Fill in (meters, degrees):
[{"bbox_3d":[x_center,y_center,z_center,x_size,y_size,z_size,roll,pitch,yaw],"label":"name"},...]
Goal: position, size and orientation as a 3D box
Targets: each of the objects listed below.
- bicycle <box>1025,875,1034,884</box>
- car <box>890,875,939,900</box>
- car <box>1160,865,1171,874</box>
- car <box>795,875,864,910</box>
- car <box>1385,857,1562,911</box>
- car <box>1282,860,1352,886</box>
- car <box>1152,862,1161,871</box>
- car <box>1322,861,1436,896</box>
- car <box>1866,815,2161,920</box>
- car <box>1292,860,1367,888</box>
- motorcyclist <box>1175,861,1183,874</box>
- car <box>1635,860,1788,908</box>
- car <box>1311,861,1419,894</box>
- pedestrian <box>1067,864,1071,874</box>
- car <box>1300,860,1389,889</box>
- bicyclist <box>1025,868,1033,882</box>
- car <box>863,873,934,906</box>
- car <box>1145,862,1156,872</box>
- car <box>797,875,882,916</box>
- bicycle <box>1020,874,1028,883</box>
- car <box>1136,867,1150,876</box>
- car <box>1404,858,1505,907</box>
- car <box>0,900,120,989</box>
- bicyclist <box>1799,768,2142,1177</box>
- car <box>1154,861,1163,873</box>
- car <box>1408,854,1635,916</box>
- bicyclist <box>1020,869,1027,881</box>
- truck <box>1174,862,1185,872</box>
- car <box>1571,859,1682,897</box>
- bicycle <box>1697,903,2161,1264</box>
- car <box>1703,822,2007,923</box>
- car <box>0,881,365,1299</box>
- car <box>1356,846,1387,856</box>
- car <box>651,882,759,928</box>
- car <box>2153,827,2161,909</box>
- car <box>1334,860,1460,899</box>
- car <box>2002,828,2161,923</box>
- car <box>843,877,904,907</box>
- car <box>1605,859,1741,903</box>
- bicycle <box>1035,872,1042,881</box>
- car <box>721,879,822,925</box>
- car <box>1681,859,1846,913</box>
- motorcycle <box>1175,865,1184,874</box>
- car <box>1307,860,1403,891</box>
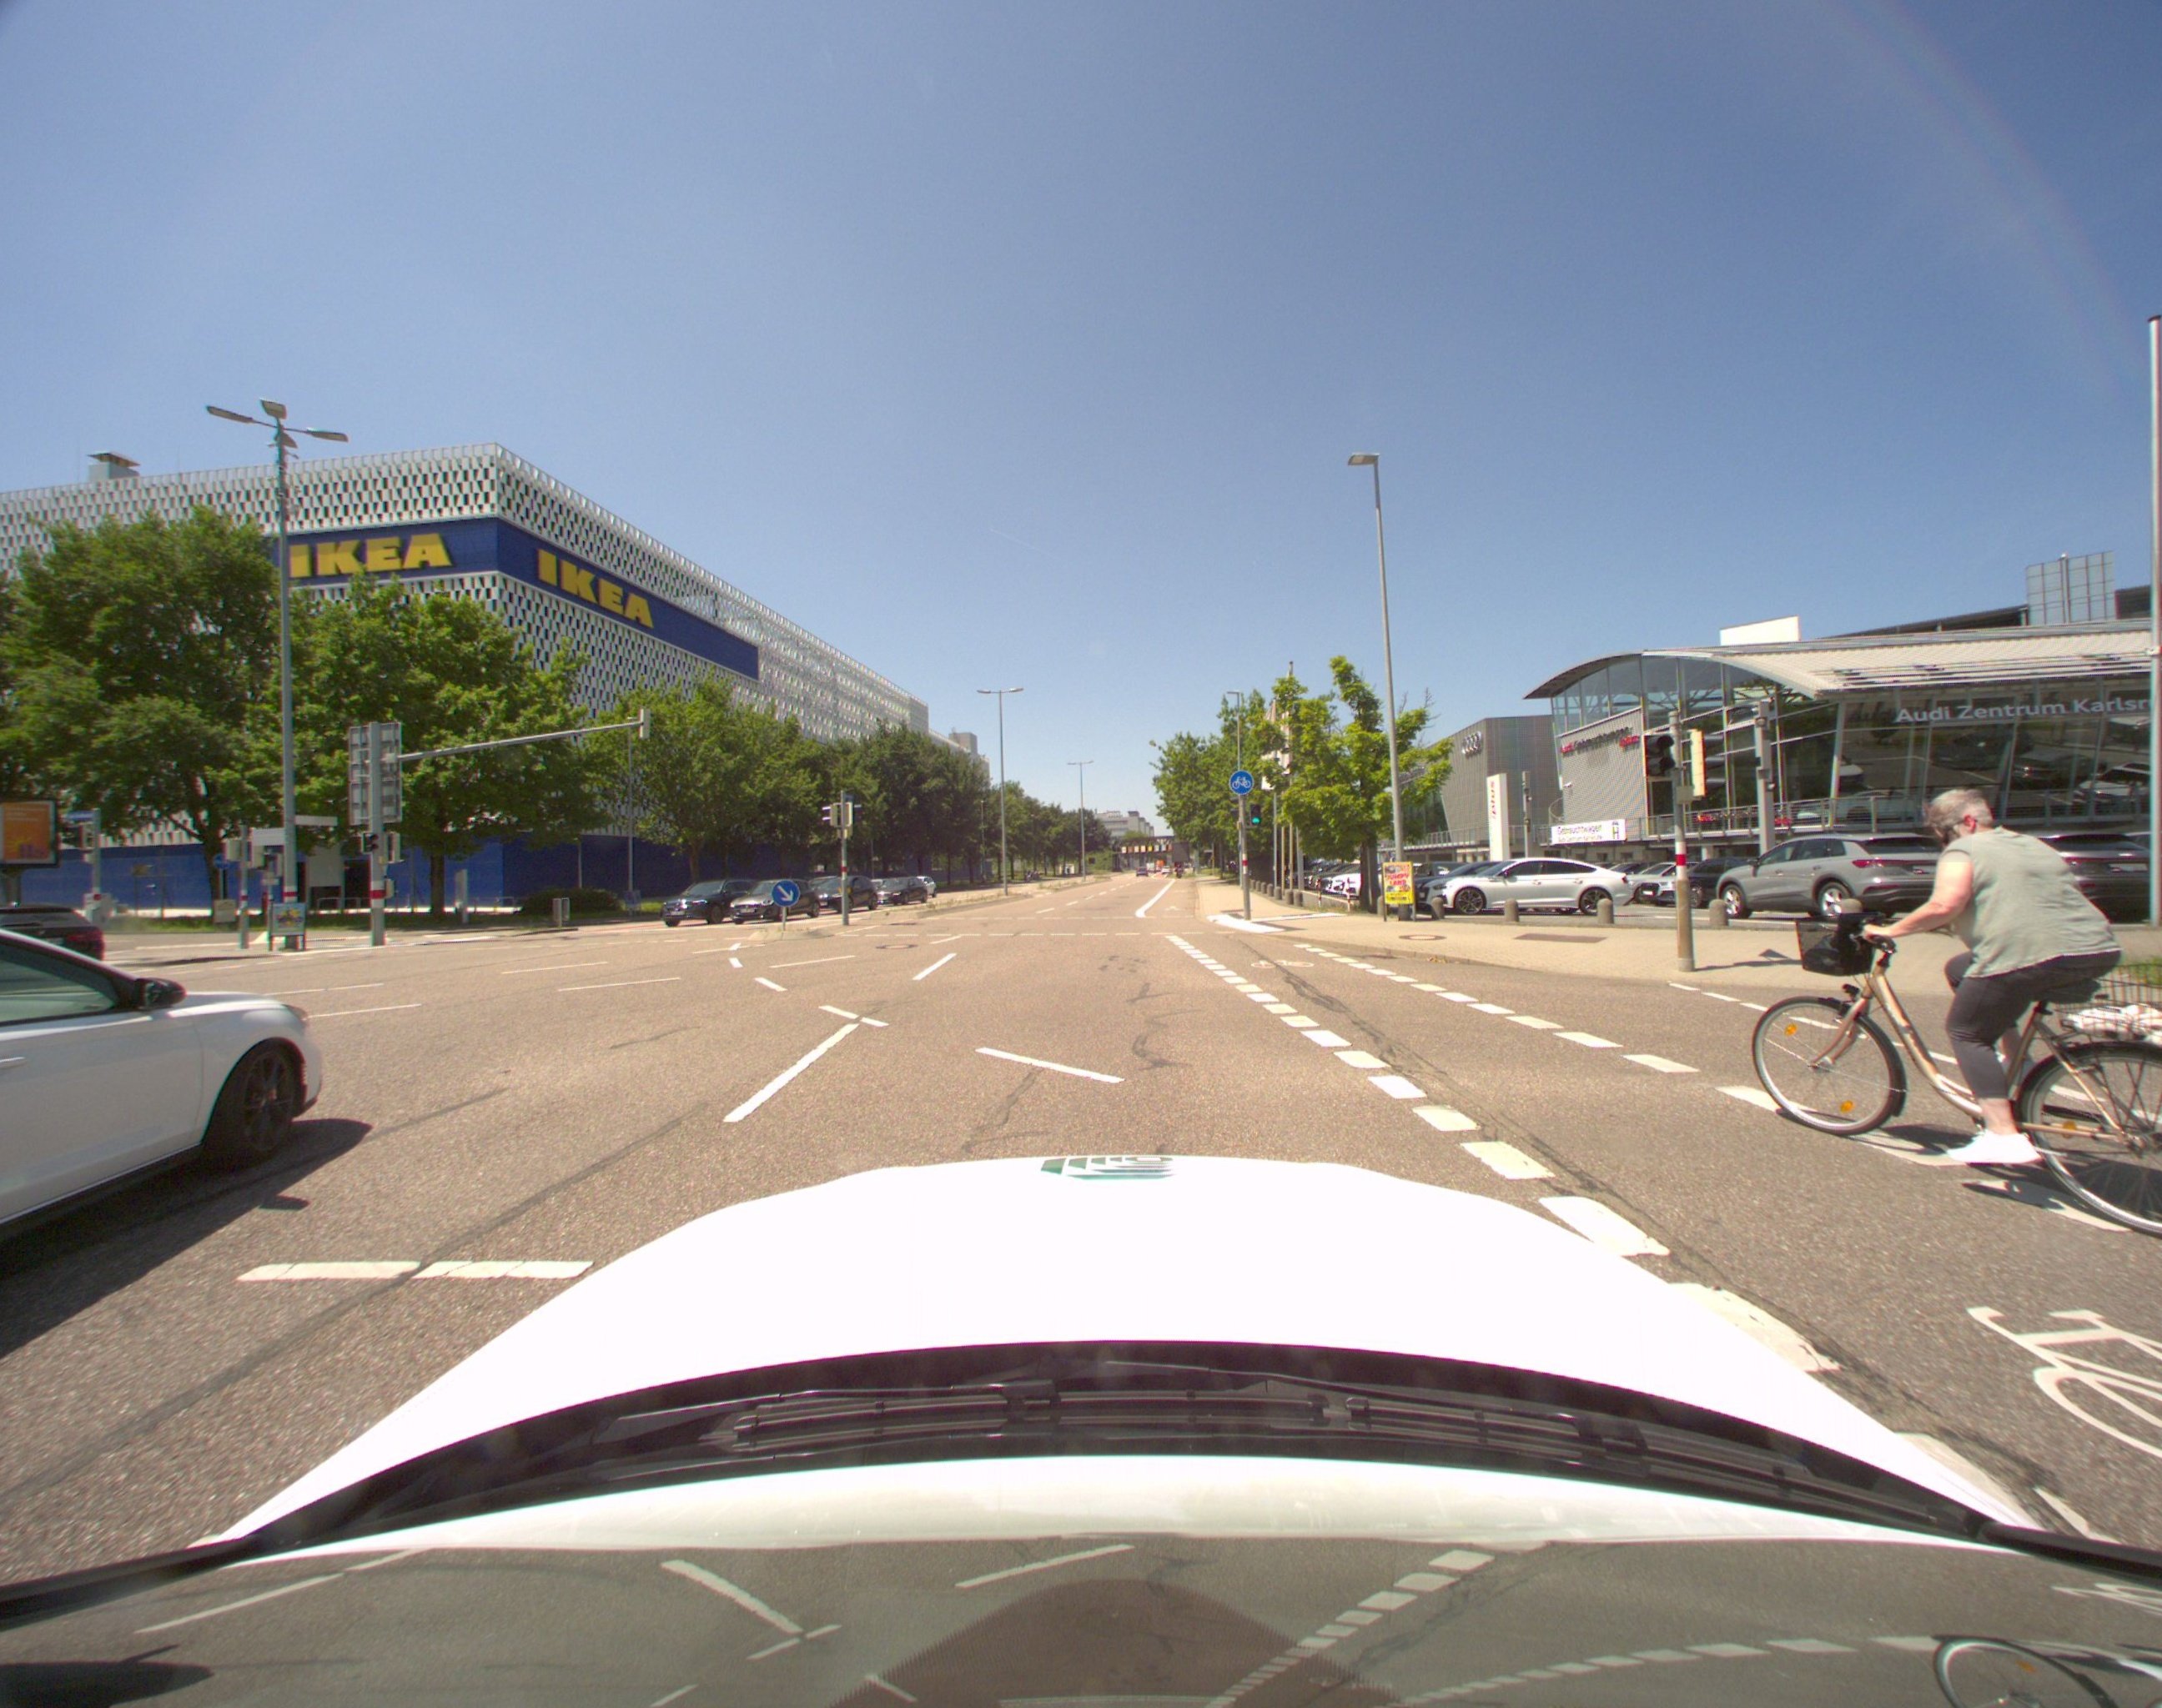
[{"bbox_3d":[-6.664,3.246,104.997,0.735,1.125,2.438,-2,-1,6],"label":"bicycle"},{"bbox_3d":[-10.816,2.186,53.291,1.717,1.446,4.460,-4,-2,7],"label":"car"},{"bbox_3d":[15.260,2.762,146.249,1.914,1.420,4.007,-1,-1,7],"label":"car"},{"bbox_3d":[-12.424,1.879,40.471,1.717,1.544,3.923,-3,-2,7],"label":"car"},{"bbox_3d":[10.781,0.812,22.652,4.074,1.390,1.873,1,-1,7],"label":"car"},{"bbox_3d":[13.575,1.072,46.938,3.661,1.453,1.837,1,-1,7],"label":"car"},{"bbox_3d":[17.317,2.842,187.008,1.885,1.816,4.008,-2,-1,7],"label":"car"},{"bbox_3d":[12.089,0.966,33.224,4.077,1.349,1.873,1,-1,7],"label":"car"},{"bbox_3d":[16.902,0.280,14.836,1.833,1.655,4.009,0,-2,10],"label":"car"},{"bbox_3d":[13.470,1.051,44.317,3.661,1.453,1.837,1,-1,7],"label":"car"},{"bbox_3d":[11.242,1.533,93.277,0.717,1.529,0.870,0,-1,-2],"label":"motorcyclist"},{"bbox_3d":[22.415,1.037,29.089,3.964,1.598,1.854,1,-1,7],"label":"car"},{"bbox_3d":[12.435,1.017,35.865,4.203,1.390,1.873,1,-1,7],"label":"car"},{"bbox_3d":[-2.299,2.979,158.666,0.739,1.884,0.579,-2,-1,8],"label":"pedestrian"},{"bbox_3d":[13.440,1.035,41.771,4.078,1.453,1.873,1,-1,7],"label":"car"},{"bbox_3d":[-6.684,2.716,104.951,0.741,1.686,0.954,-2,-1,6],"label":"bicyclist"},{"bbox_3d":[-9.135,1.731,41.161,1.716,1.446,4.733,-4,-2,10],"label":"car"},{"bbox_3d":[13.571,2.571,159.150,1.983,2.014,4.007,-1,-1,7],"label":"car"},{"bbox_3d":[-10.078,1.706,34.273,1.717,1.505,4.252,-4,-2,8],"label":"car"},{"bbox_3d":[-7.560,3.288,107.595,0.634,1.134,1.974,-2,-1,6],"label":"bicycle"},{"bbox_3d":[9.807,2.704,128.522,1.890,1.376,4.239,-2,-1,7],"label":"car"},{"bbox_3d":[12.032,0.878,26.588,1.852,1.420,4.674,0,-1,9],"label":"car"},{"bbox_3d":[-20.051,1.701,14.934,4.502,1.441,1.813,-4,-2,22],"label":"car"},{"bbox_3d":[3.918,0.466,3.660,0.627,1.606,0.823,0,-1,-8],"label":"bicyclist"},{"bbox_3d":[19.261,3.298,201.635,2.062,2.855,6.777,-2,-1,7],"label":"car"},{"bbox_3d":[10.683,0.739,20.055,4.566,1.390,1.873,0,-1,8],"label":"car"},{"bbox_3d":[-7.598,2.813,107.522,0.633,1.582,0.886,-2,-1,7],"label":"bicyclist"},{"bbox_3d":[22.706,2.930,186.699,2.445,2.410,7.148,0,-1,7],"label":"truck"},{"bbox_3d":[23.255,1.007,34.843,3.627,1.580,1.645,1,-1,7],"label":"car"},{"bbox_3d":[3.925,0.849,3.707,0.627,1.133,1.890,-1,0,-7],"label":"bicycle"},{"bbox_3d":[14.242,0.377,15.450,1.857,1.558,4.513,-3,-2,8],"label":"car"},{"bbox_3d":[-4.741,0.868,2.800,1.791,1.436,4.049,0,-1,-15],"label":"car"},{"bbox_3d":[38.482,-0.361,107.942,3.509,1.239,1.678,0,-1,3],"label":"car"},{"bbox_3d":[-13.592,1.811,29.704,1.651,1.424,4.046,-3,-2,7],"label":"car"},{"bbox_3d":[21.966,0.271,14.202,1.629,1.616,3.821,-1,0,3],"label":"car"},{"bbox_3d":[11.763,0.934,30.516,4.074,1.364,1.878,1,-1,7],"label":"car"},{"bbox_3d":[19.637,0.388,14.619,1.836,1.654,4.002,1,-1,3],"label":"car"},{"bbox_3d":[-11.646,2.096,45.983,1.737,1.422,4.632,-3,-1,7],"label":"car"},{"bbox_3d":[22.920,1.024,31.655,3.964,1.622,1.660,1,-1,7],"label":"car"},{"bbox_3d":[-5.942,3.161,114.594,0.625,1.159,2.121,-4,-1,7],"label":"bicycle"},{"bbox_3d":[-10.671,1.618,28.367,1.634,1.389,3.724,-4,-2,8],"label":"car"},{"bbox_3d":[20.986,0.934,25.338,1.863,1.516,4.729,0,-1,10],"label":"car"},{"bbox_3d":[11.251,1.773,93.262,0.714,1.105,1.828,0,-1,-2],"label":"motorcycle"},{"bbox_3d":[12.937,1.016,38.646,4.078,1.405,1.873,1,-1,7],"label":"car"}]
